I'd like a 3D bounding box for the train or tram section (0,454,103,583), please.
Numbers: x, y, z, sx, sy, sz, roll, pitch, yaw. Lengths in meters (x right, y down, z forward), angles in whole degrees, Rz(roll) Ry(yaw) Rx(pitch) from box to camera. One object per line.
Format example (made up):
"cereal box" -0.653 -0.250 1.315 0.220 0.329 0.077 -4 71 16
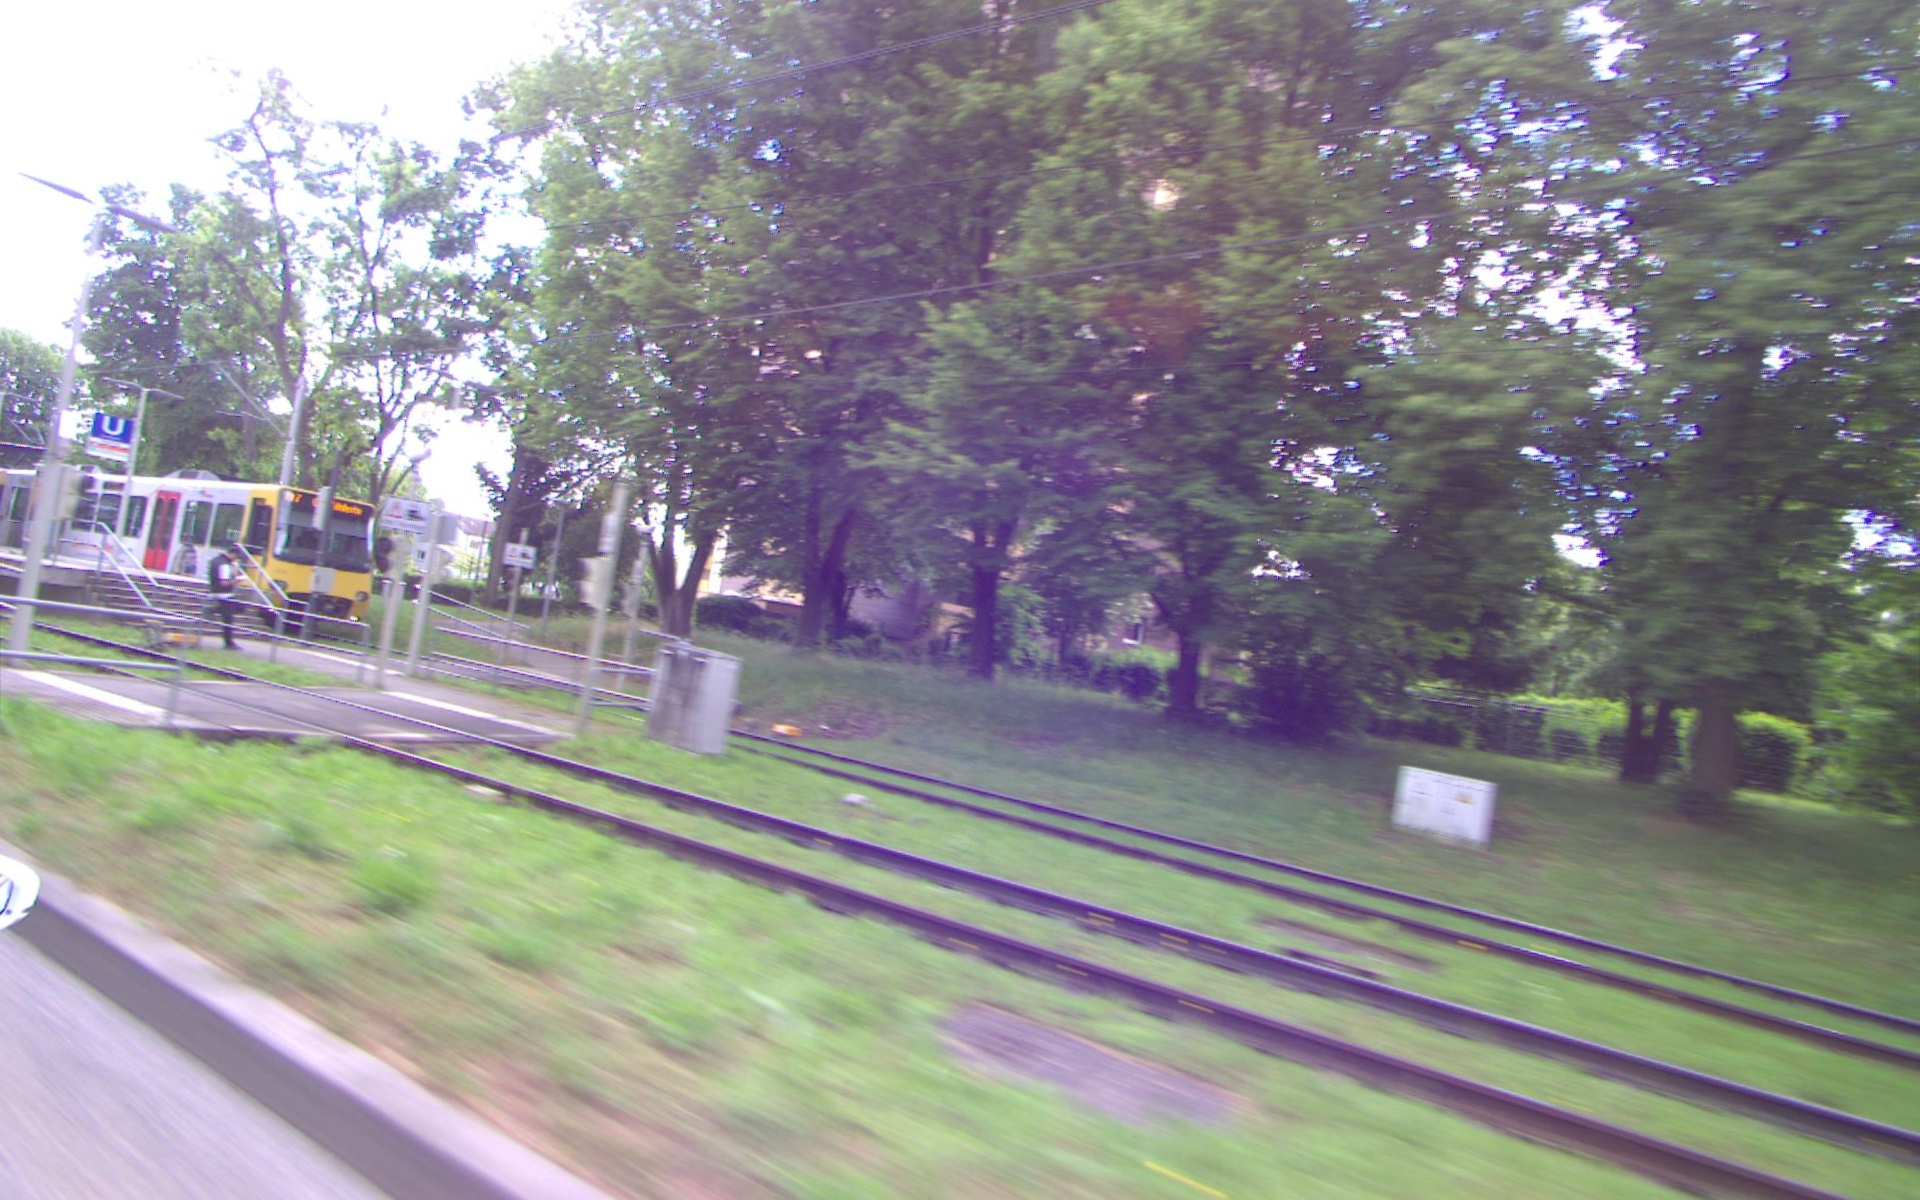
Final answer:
"train or tram section" -39.098 -3.554 38.385 18.606 3.839 2.824 6 -4 28

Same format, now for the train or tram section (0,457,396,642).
"train or tram section" -23.097 -1.785 29.152 18.224 3.776 2.822 6 -4 31

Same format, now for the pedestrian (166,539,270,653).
"pedestrian" -12.765 -0.053 17.333 0.716 1.776 0.988 8 -3 21
